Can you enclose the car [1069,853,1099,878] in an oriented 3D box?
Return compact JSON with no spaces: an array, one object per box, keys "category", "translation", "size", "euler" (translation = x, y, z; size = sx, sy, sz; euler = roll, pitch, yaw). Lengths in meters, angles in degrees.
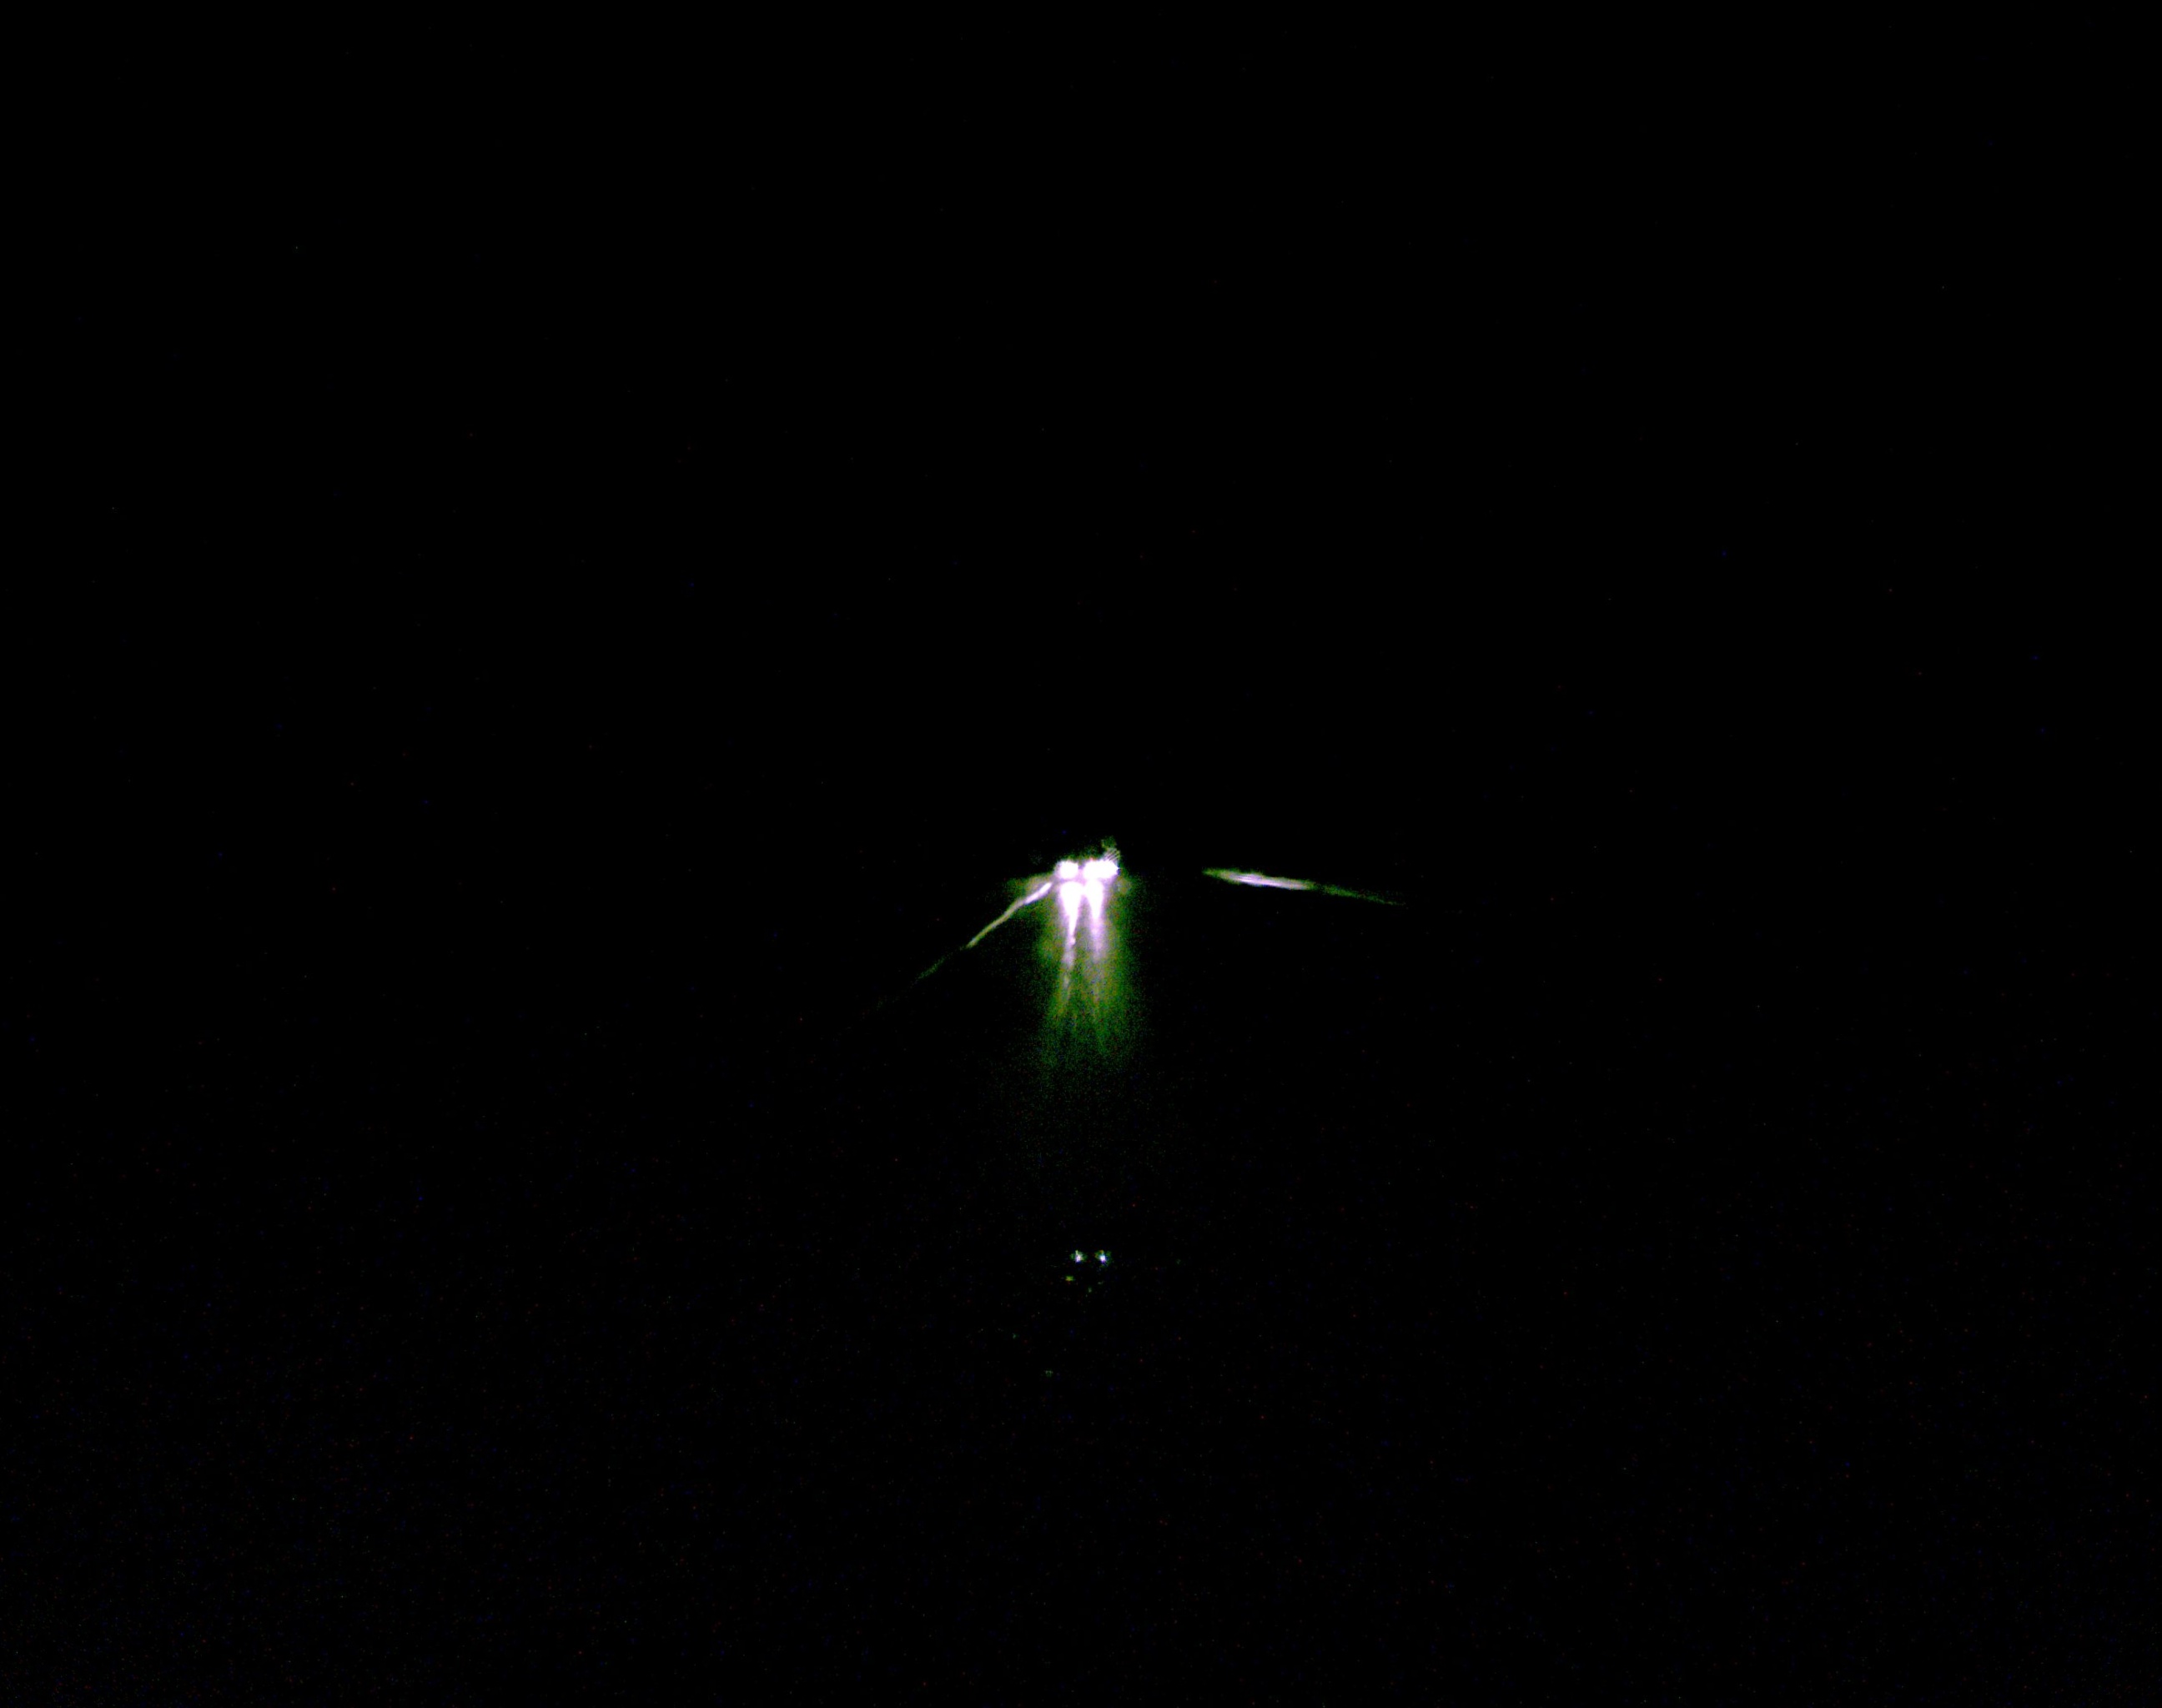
[{"category":"car","translation":[0.221,0.812,50.909],"size":[1.901,1.551,4.001],"euler":[-1,-1,1]}]
